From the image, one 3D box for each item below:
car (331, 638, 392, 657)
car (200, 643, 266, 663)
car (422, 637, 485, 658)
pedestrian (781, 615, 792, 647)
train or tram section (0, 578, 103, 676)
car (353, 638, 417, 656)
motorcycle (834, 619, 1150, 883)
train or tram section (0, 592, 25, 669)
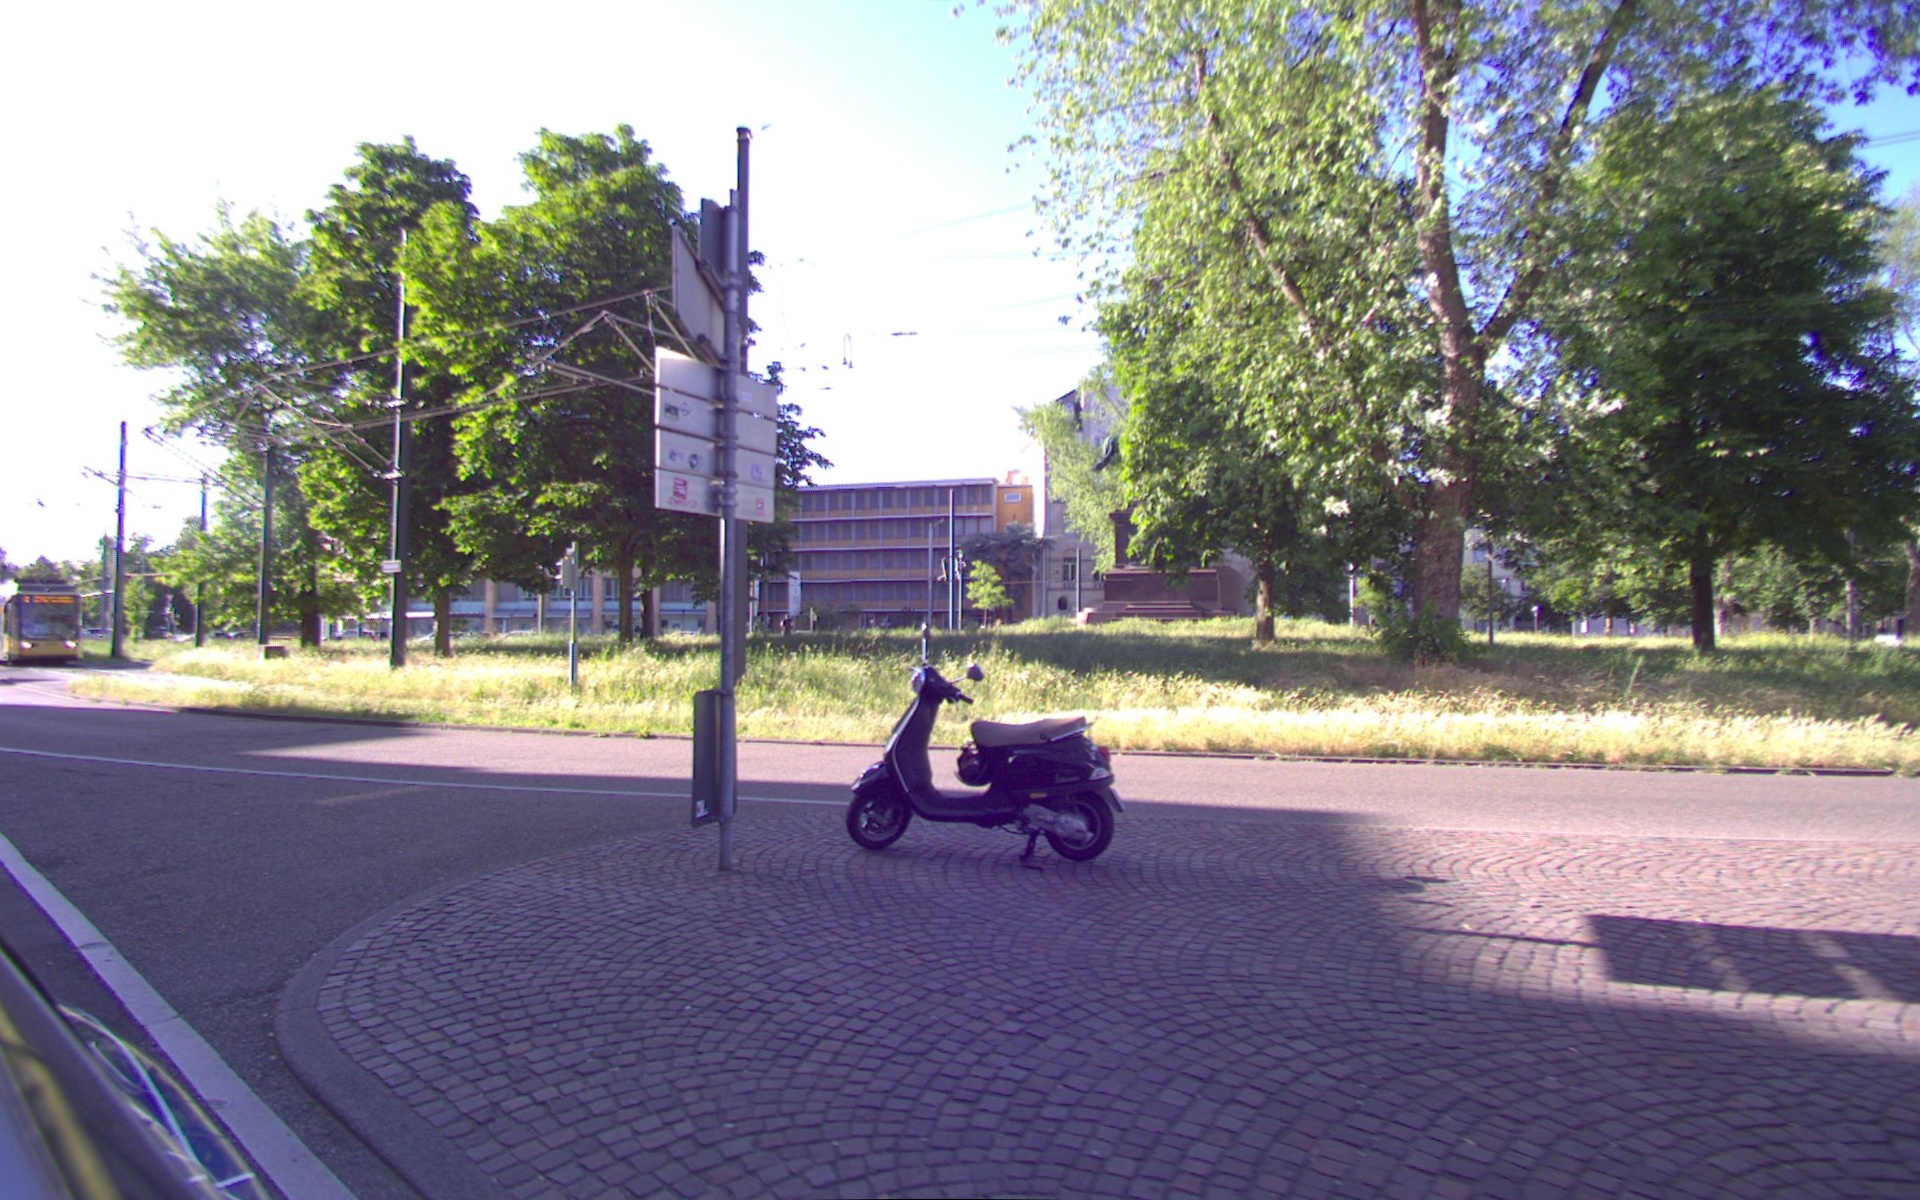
[{"bbox_3d":[-57.438,4.561,97.082,5.164,1.681,2.114,0,0,16],"label":"car"},{"bbox_3d":[-65.152,4.768,90.749,5.037,1.747,2.097,-1,-2,15],"label":"car"},{"bbox_3d":[-42.395,3.973,84.711,4.612,1.608,1.991,0,0,15],"label":"car"},{"bbox_3d":[-9.061,1.603,52.908,0.546,1.628,0.677,0,-1,-12],"label":"pedestrian"},{"bbox_3d":[-40.509,1.230,43.455,13.163,3.713,2.921,-2,-2,38],"label":"train or tram section"},{"bbox_3d":[-49.186,4.010,86.623,4.979,1.458,1.988,0,0,19],"label":"car"},{"bbox_3d":[0.203,0.811,5.987,1.746,1.384,0.744,0,-1,17],"label":"motorcycle"},{"bbox_3d":[-50.981,1.622,51.364,13.612,3.640,2.921,-2,-2,38],"label":"train or tram section"}]
